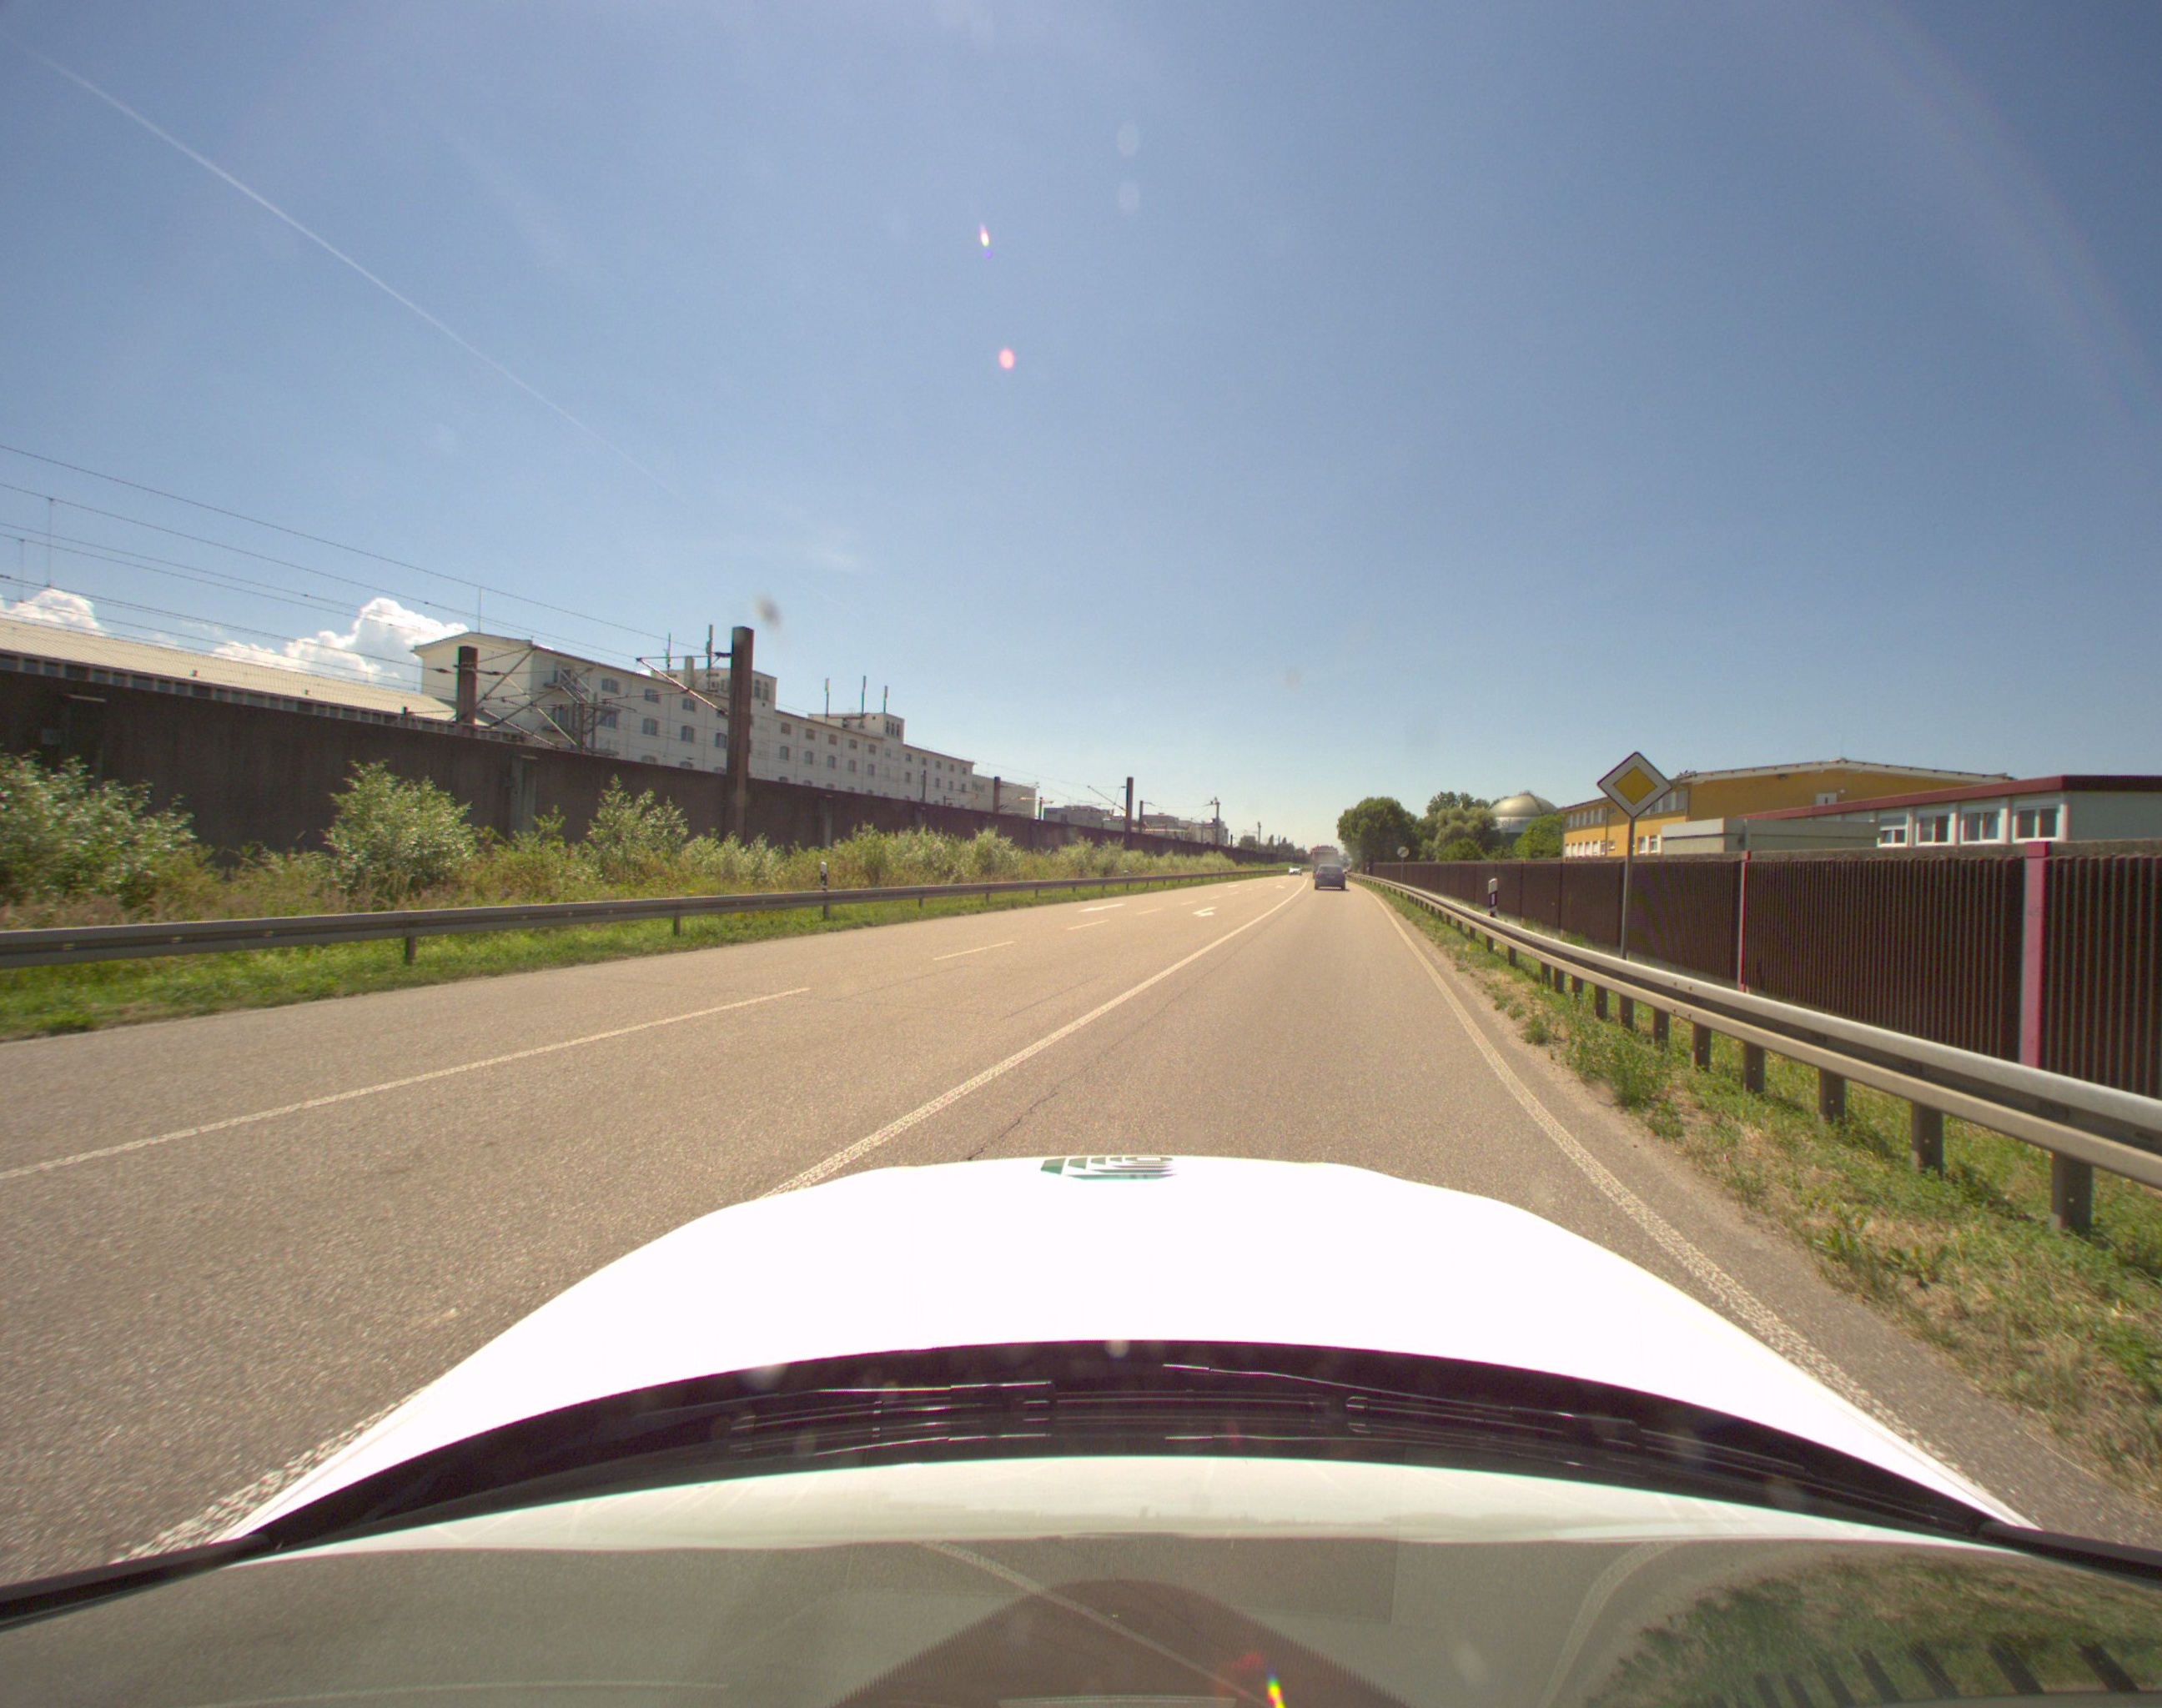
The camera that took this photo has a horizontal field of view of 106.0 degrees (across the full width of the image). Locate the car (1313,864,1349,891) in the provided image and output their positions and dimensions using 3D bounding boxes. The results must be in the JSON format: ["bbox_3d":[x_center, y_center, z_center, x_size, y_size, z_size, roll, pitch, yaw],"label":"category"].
[{"bbox_3d":[15.269,1.454,49.661,1.978,1.503,4.017,2,-2,18],"label":"car"}]

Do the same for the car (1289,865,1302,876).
[{"bbox_3d":[30.488,2.363,115.598,1.659,1.502,3.738,1,0,17],"label":"car"}]

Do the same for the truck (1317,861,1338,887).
[{"bbox_3d":[38.076,3.122,125.882,2.973,3.720,10.602,1,-1,16],"label":"truck"}]

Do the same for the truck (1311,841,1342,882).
[{"bbox_3d":[26.935,0.936,89.397,2.973,4.181,11.856,1,-1,16],"label":"truck"}]
